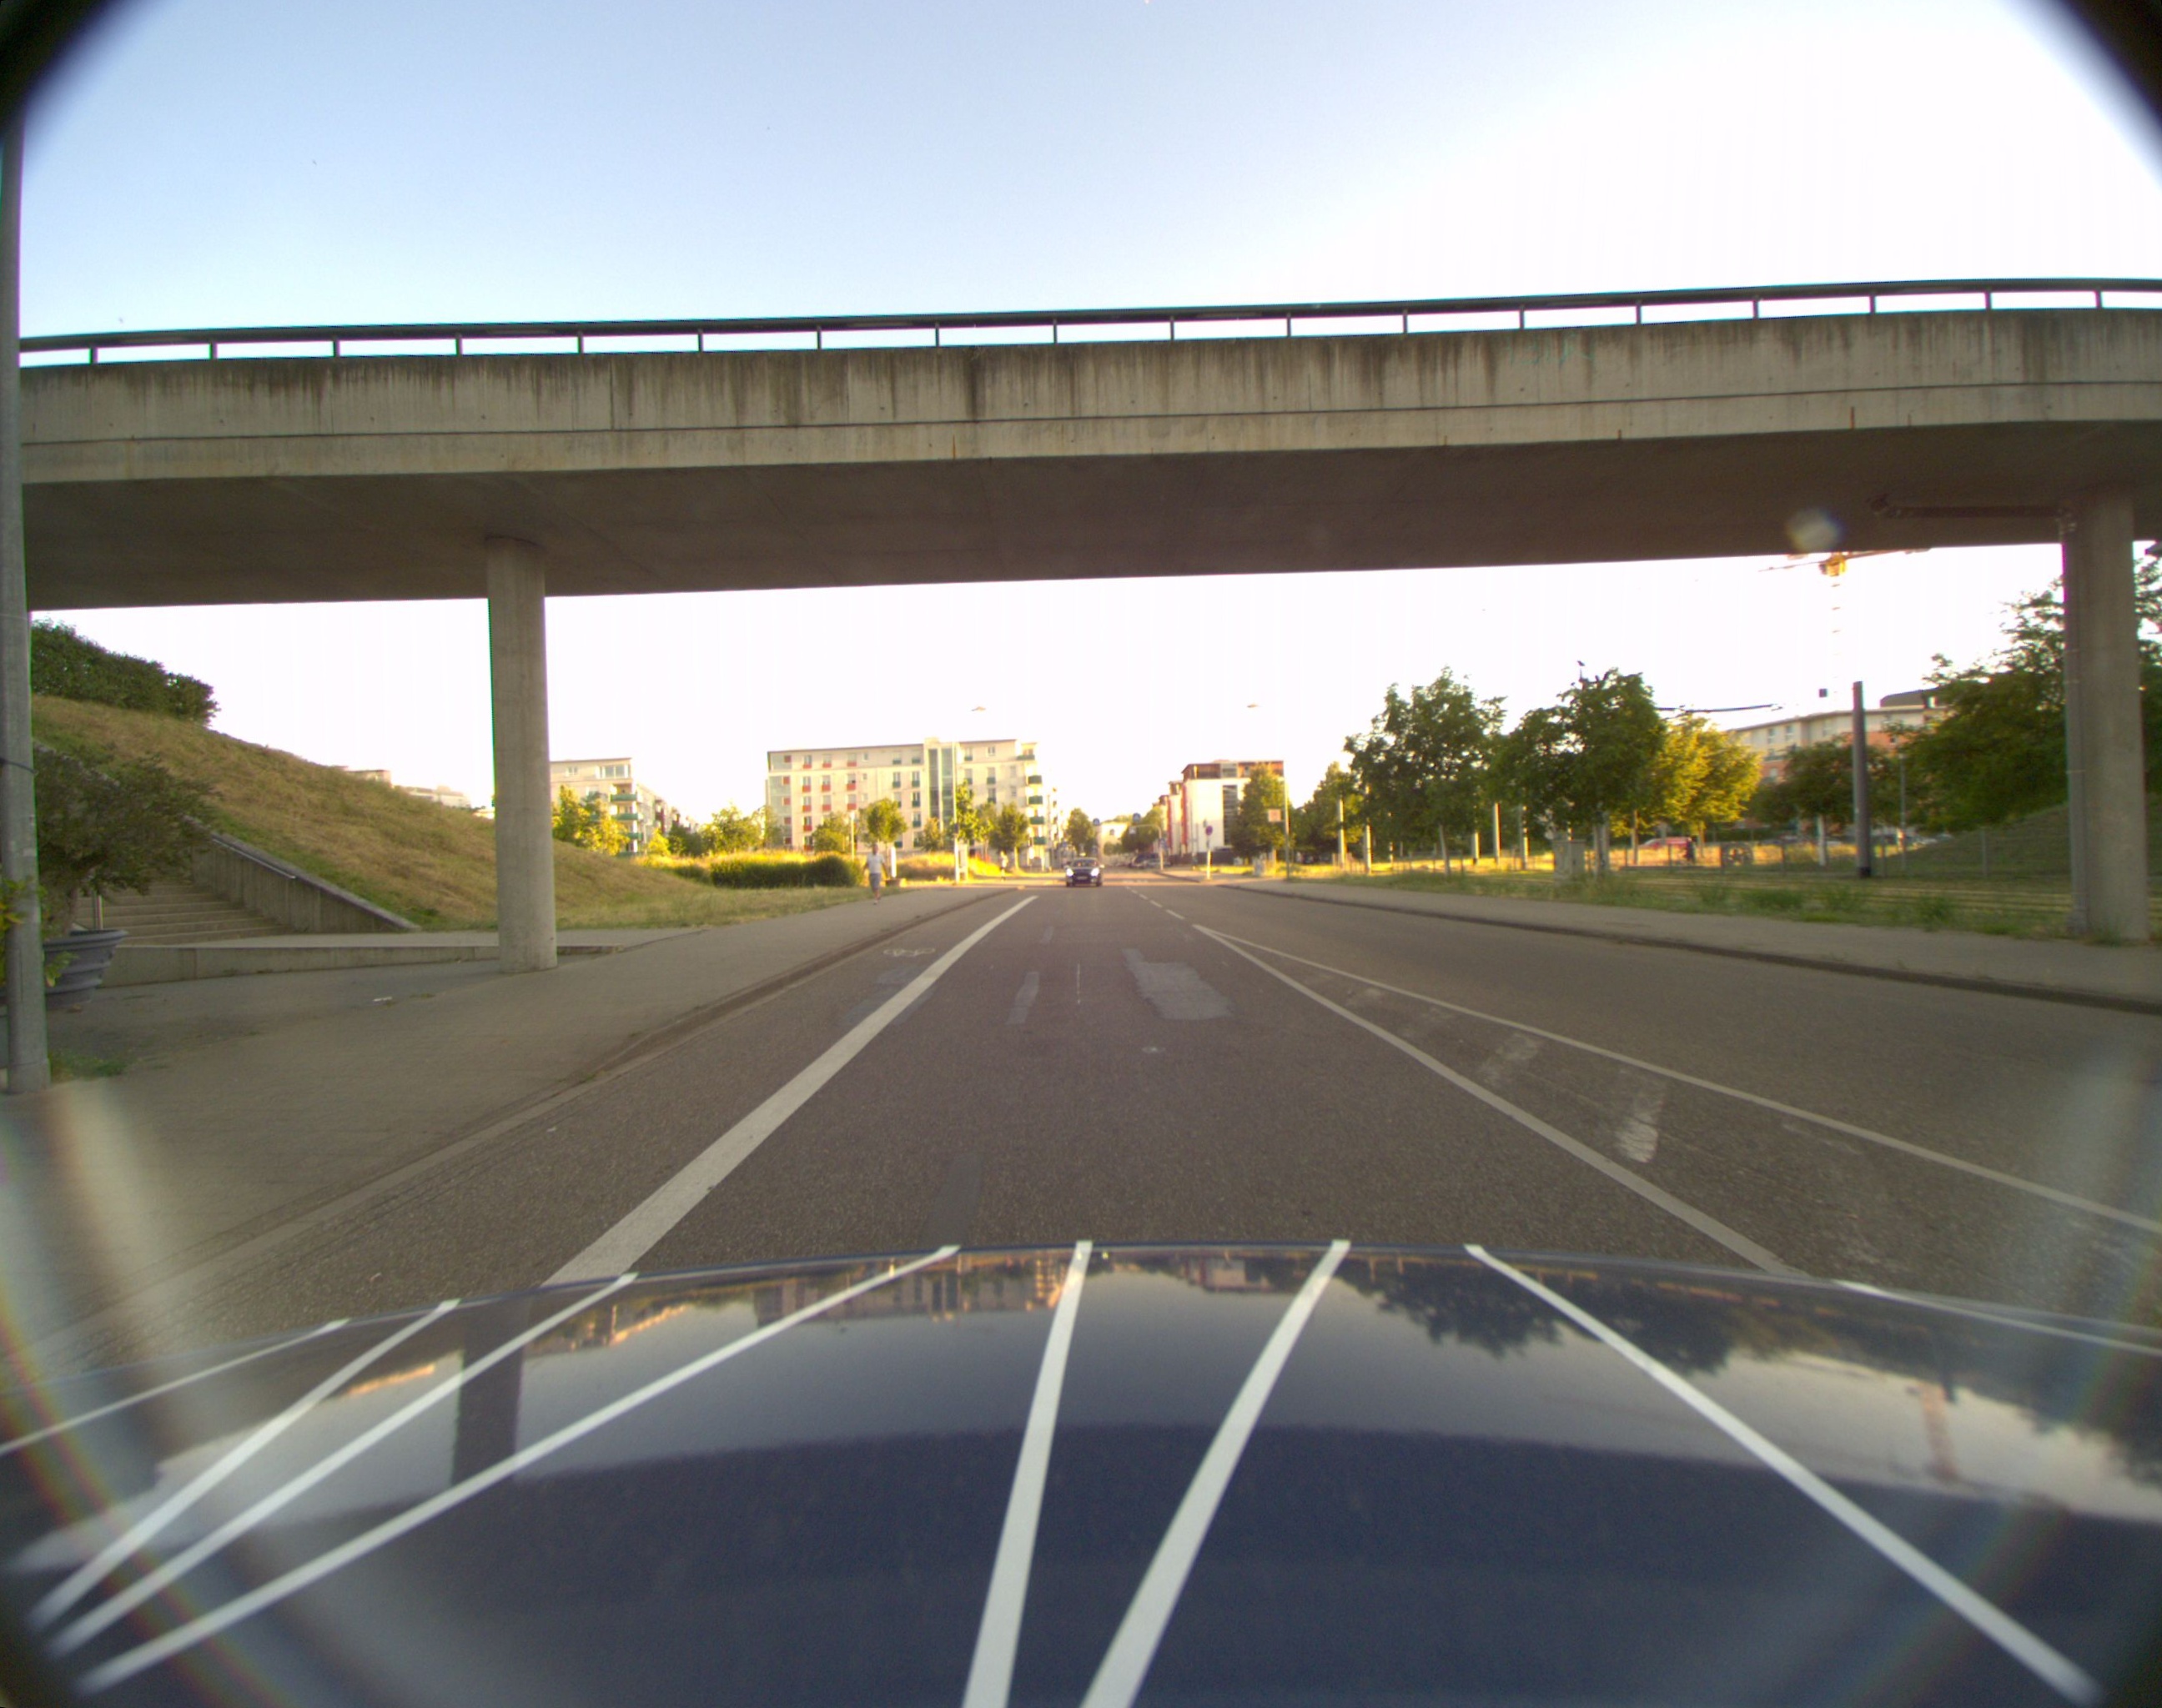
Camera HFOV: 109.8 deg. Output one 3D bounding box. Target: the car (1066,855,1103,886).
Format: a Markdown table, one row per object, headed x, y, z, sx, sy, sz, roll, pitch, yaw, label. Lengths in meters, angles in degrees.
| x | y | z | sx | sy | sz | roll | pitch | yaw | label |
| --- | --- | --- | --- | --- | --- | --- | --- | --- | --- |
| 0.216 | 0.823 | 38.955 | 1.739 | 1.455 | 4.000 | -2 | 0 | 1 | car |

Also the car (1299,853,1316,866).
| x | y | z | sx | sy | sz | roll | pitch | yaw | label |
| --- | --- | --- | --- | --- | --- | --- | --- | --- | --- |
| 28.948 | 0.680 | 97.174 | 1.942 | 1.521 | 4.004 | -2 | 0 | 14 | car |

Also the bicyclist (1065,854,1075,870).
| x | y | z | sx | sy | sz | roll | pitch | yaw | label |
| --- | --- | --- | --- | --- | --- | --- | --- | --- | --- |
| -1.183 | 0.862 | 79.329 | 0.932 | 1.585 | 1.067 | -2 | 0 | -6 | bicyclist |

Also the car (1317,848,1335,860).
| x | y | z | sx | sy | sz | roll | pitch | yaw | label |
| --- | --- | --- | --- | --- | --- | --- | --- | --- | --- |
| 31.186 | -0.009 | 96.752 | 1.942 | 1.521 | 4.004 | -2 | 0 | 14 | car |

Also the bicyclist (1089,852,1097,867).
| x | y | z | sx | sy | sz | roll | pitch | yaw | label |
| --- | --- | --- | --- | --- | --- | --- | --- | --- | --- |
| 1.283 | 0.589 | 82.270 | 0.698 | 1.630 | 0.851 | -2 | 0 | -12 | bicyclist |

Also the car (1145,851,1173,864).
| x | y | z | sx | sy | sz | roll | pitch | yaw | label |
| --- | --- | --- | --- | --- | --- | --- | --- | --- | --- |
| 11.605 | 0.542 | 113.742 | 3.996 | 1.718 | 2.000 | -2 | 0 | 2 | car |

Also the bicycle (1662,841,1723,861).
| x | y | z | sx | sy | sz | roll | pitch | yaw | label |
| --- | --- | --- | --- | --- | --- | --- | --- | --- | --- |
| 33.398 | -0.180 | 41.514 | 2.842 | 1.002 | 0.655 | -2 | 0 | -3 | bicycle |

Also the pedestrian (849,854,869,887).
| x | y | z | sx | sy | sz | roll | pitch | yaw | label |
| --- | --- | --- | --- | --- | --- | --- | --- | --- | --- |
| -10.903 | 0.815 | 37.349 | 0.737 | 1.620 | 0.859 | 0 | 0 | 2 | pedestrian |

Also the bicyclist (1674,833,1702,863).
| x | y | z | sx | sy | sz | roll | pitch | yaw | label |
| --- | --- | --- | --- | --- | --- | --- | --- | --- | --- |
| 33.274 | -0.310 | 41.641 | 0.910 | 1.622 | 0.717 | -2 | 0 | -5 | bicyclist |

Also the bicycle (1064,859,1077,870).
| x | y | z | sx | sy | sz | roll | pitch | yaw | label |
| --- | --- | --- | --- | --- | --- | --- | --- | --- | --- |
| -1.105 | 1.102 | 79.200 | 0.900 | 1.142 | 3.496 | -2 | 0 | -6 | bicycle |

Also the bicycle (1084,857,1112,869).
| x | y | z | sx | sy | sz | roll | pitch | yaw | label |
| --- | --- | --- | --- | --- | --- | --- | --- | --- | --- |
| 2.238 | 1.188 | 100.108 | 3.540 | 1.560 | 1.018 | -2 | 0 | 1 | bicycle |

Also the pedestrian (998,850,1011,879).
| x | y | z | sx | sy | sz | roll | pitch | yaw | label |
| --- | --- | --- | --- | --- | --- | --- | --- | --- | --- |
| -4.591 | 0.629 | 45.566 | 0.737 | 1.714 | 0.532 | 0 | 0 | 1 | pedestrian |

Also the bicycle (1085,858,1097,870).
| x | y | z | sx | sy | sz | roll | pitch | yaw | label |
| --- | --- | --- | --- | --- | --- | --- | --- | --- | --- |
| 1.097 | 1.092 | 83.210 | 0.663 | 1.217 | 2.437 | -2 | 0 | -13 | bicycle |

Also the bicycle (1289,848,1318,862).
| x | y | z | sx | sy | sz | roll | pitch | yaw | label |
| --- | --- | --- | --- | --- | --- | --- | --- | --- | --- |
| 26.616 | 0.118 | 90.963 | 3.315 | 1.483 | 0.888 | -2 | 0 | 13 | bicycle |

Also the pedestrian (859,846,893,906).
| x | y | z | sx | sy | sz | roll | pitch | yaw | label |
| --- | --- | --- | --- | --- | --- | --- | --- | --- | --- |
| -6.052 | 0.638 | 22.465 | 0.737 | 1.714 | 0.906 | 0 | 0 | 1 | pedestrian |

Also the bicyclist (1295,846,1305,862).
| x | y | z | sx | sy | sz | roll | pitch | yaw | label |
| --- | --- | --- | --- | --- | --- | --- | --- | --- | --- |
| 26.210 | -0.016 | 91.039 | 1.033 | 1.865 | 0.884 | -1 | 1 | 10 | bicyclist |

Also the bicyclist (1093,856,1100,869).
| x | y | z | sx | sy | sz | roll | pitch | yaw | label |
| --- | --- | --- | --- | --- | --- | --- | --- | --- | --- |
| 2.045 | 1.129 | 100.022 | 0.919 | 1.653 | 0.858 | -2 | 0 | 1 | bicyclist |

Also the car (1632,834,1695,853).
| x | y | z | sx | sy | sz | roll | pitch | yaw | label |
| --- | --- | --- | --- | --- | --- | --- | --- | --- | --- |
| 66.954 | -1.219 | 87.381 | 5.520 | 2.002 | 2.001 | -2 | 0 | 5 | car |
